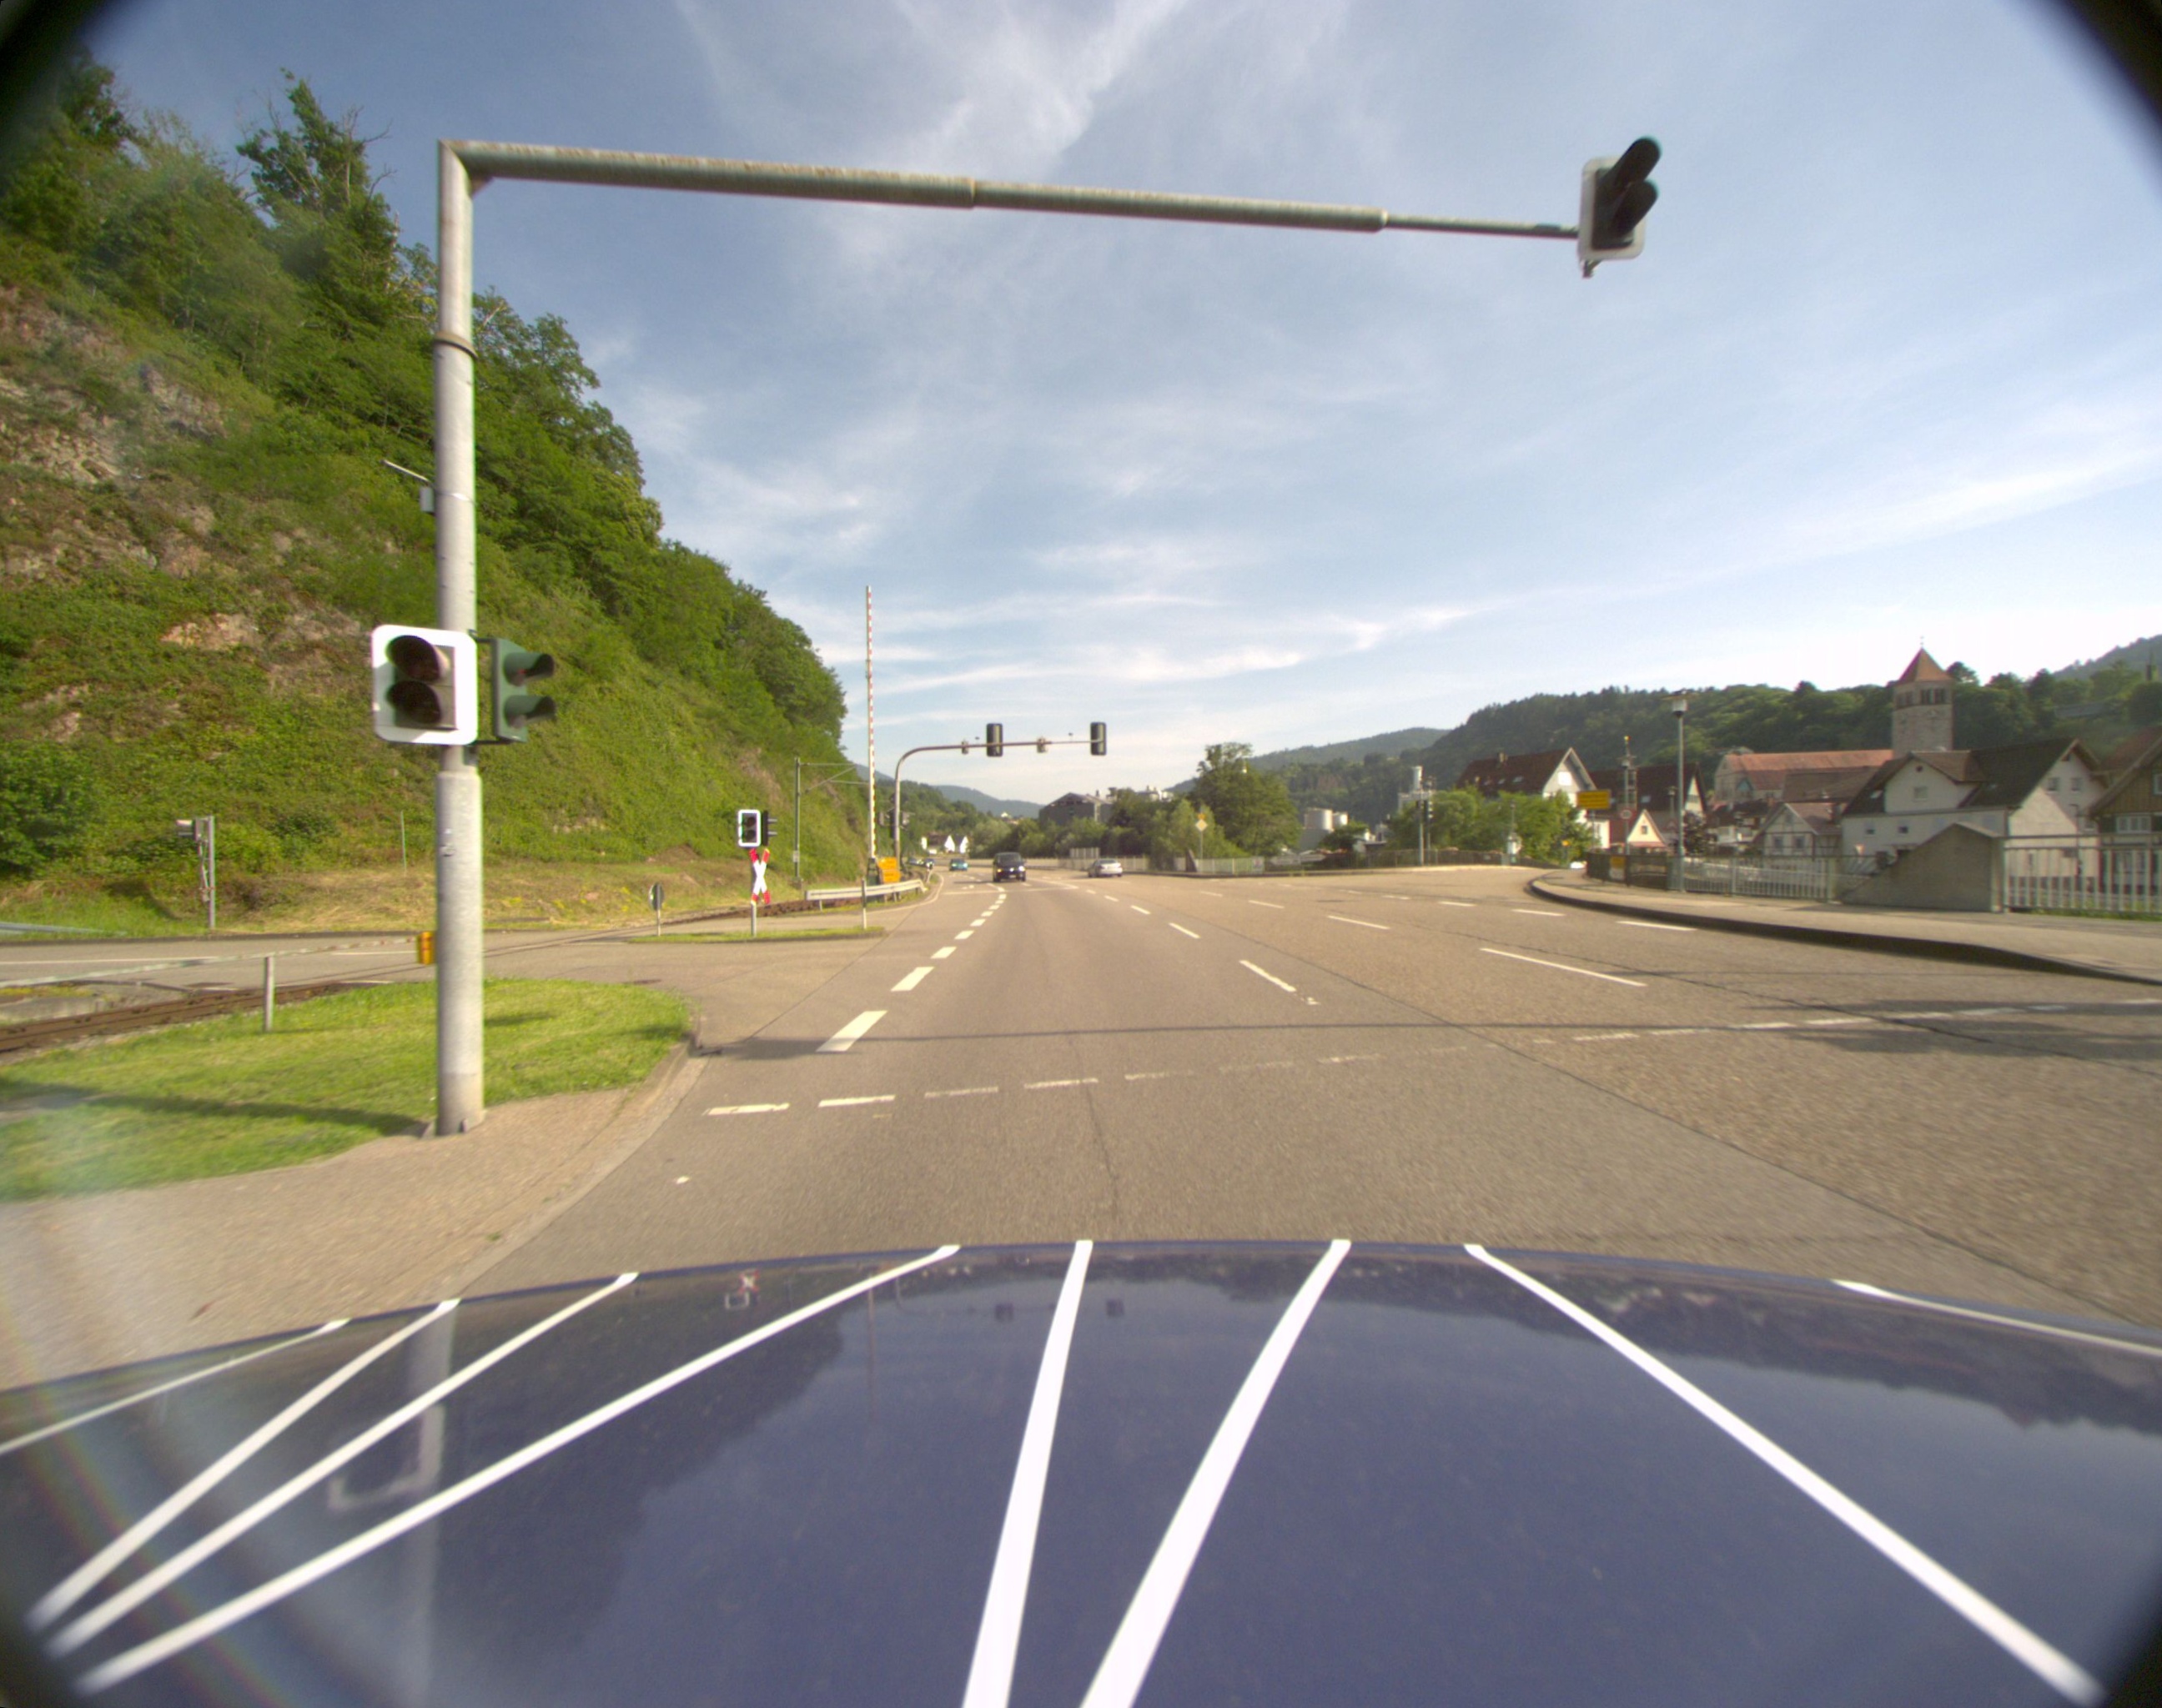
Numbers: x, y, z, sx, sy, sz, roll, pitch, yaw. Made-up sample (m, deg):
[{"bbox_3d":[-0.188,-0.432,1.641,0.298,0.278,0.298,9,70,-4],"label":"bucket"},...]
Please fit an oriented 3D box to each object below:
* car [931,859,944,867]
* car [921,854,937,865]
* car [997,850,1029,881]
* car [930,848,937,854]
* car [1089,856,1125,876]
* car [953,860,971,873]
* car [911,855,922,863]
[{"bbox_3d":[-28.684,1.782,151.895,1.789,1.473,4.518,-1,0,-19],"label":"car"},{"bbox_3d":[-25.010,0.861,124.909,2.001,1.783,3.994,-1,0,-18],"label":"car"},{"bbox_3d":[-4.623,0.746,50.854,1.910,1.868,4.345,-3,0,-7],"label":"car"},{"bbox_3d":[-50.077,-0.957,257.730,2.001,2.002,3.995,-2,0,-13],"label":"car"},{"bbox_3d":[1.724,0.799,52.078,1.651,1.224,4.090,-1,0,-9],"label":"car"},{"bbox_3d":[-14.028,1.434,89.313,1.770,1.452,3.571,0,1,-14],"label":"car"},{"bbox_3d":[-30.887,0.881,142.516,1.879,1.452,3.723,0,1,-16],"label":"car"}]
